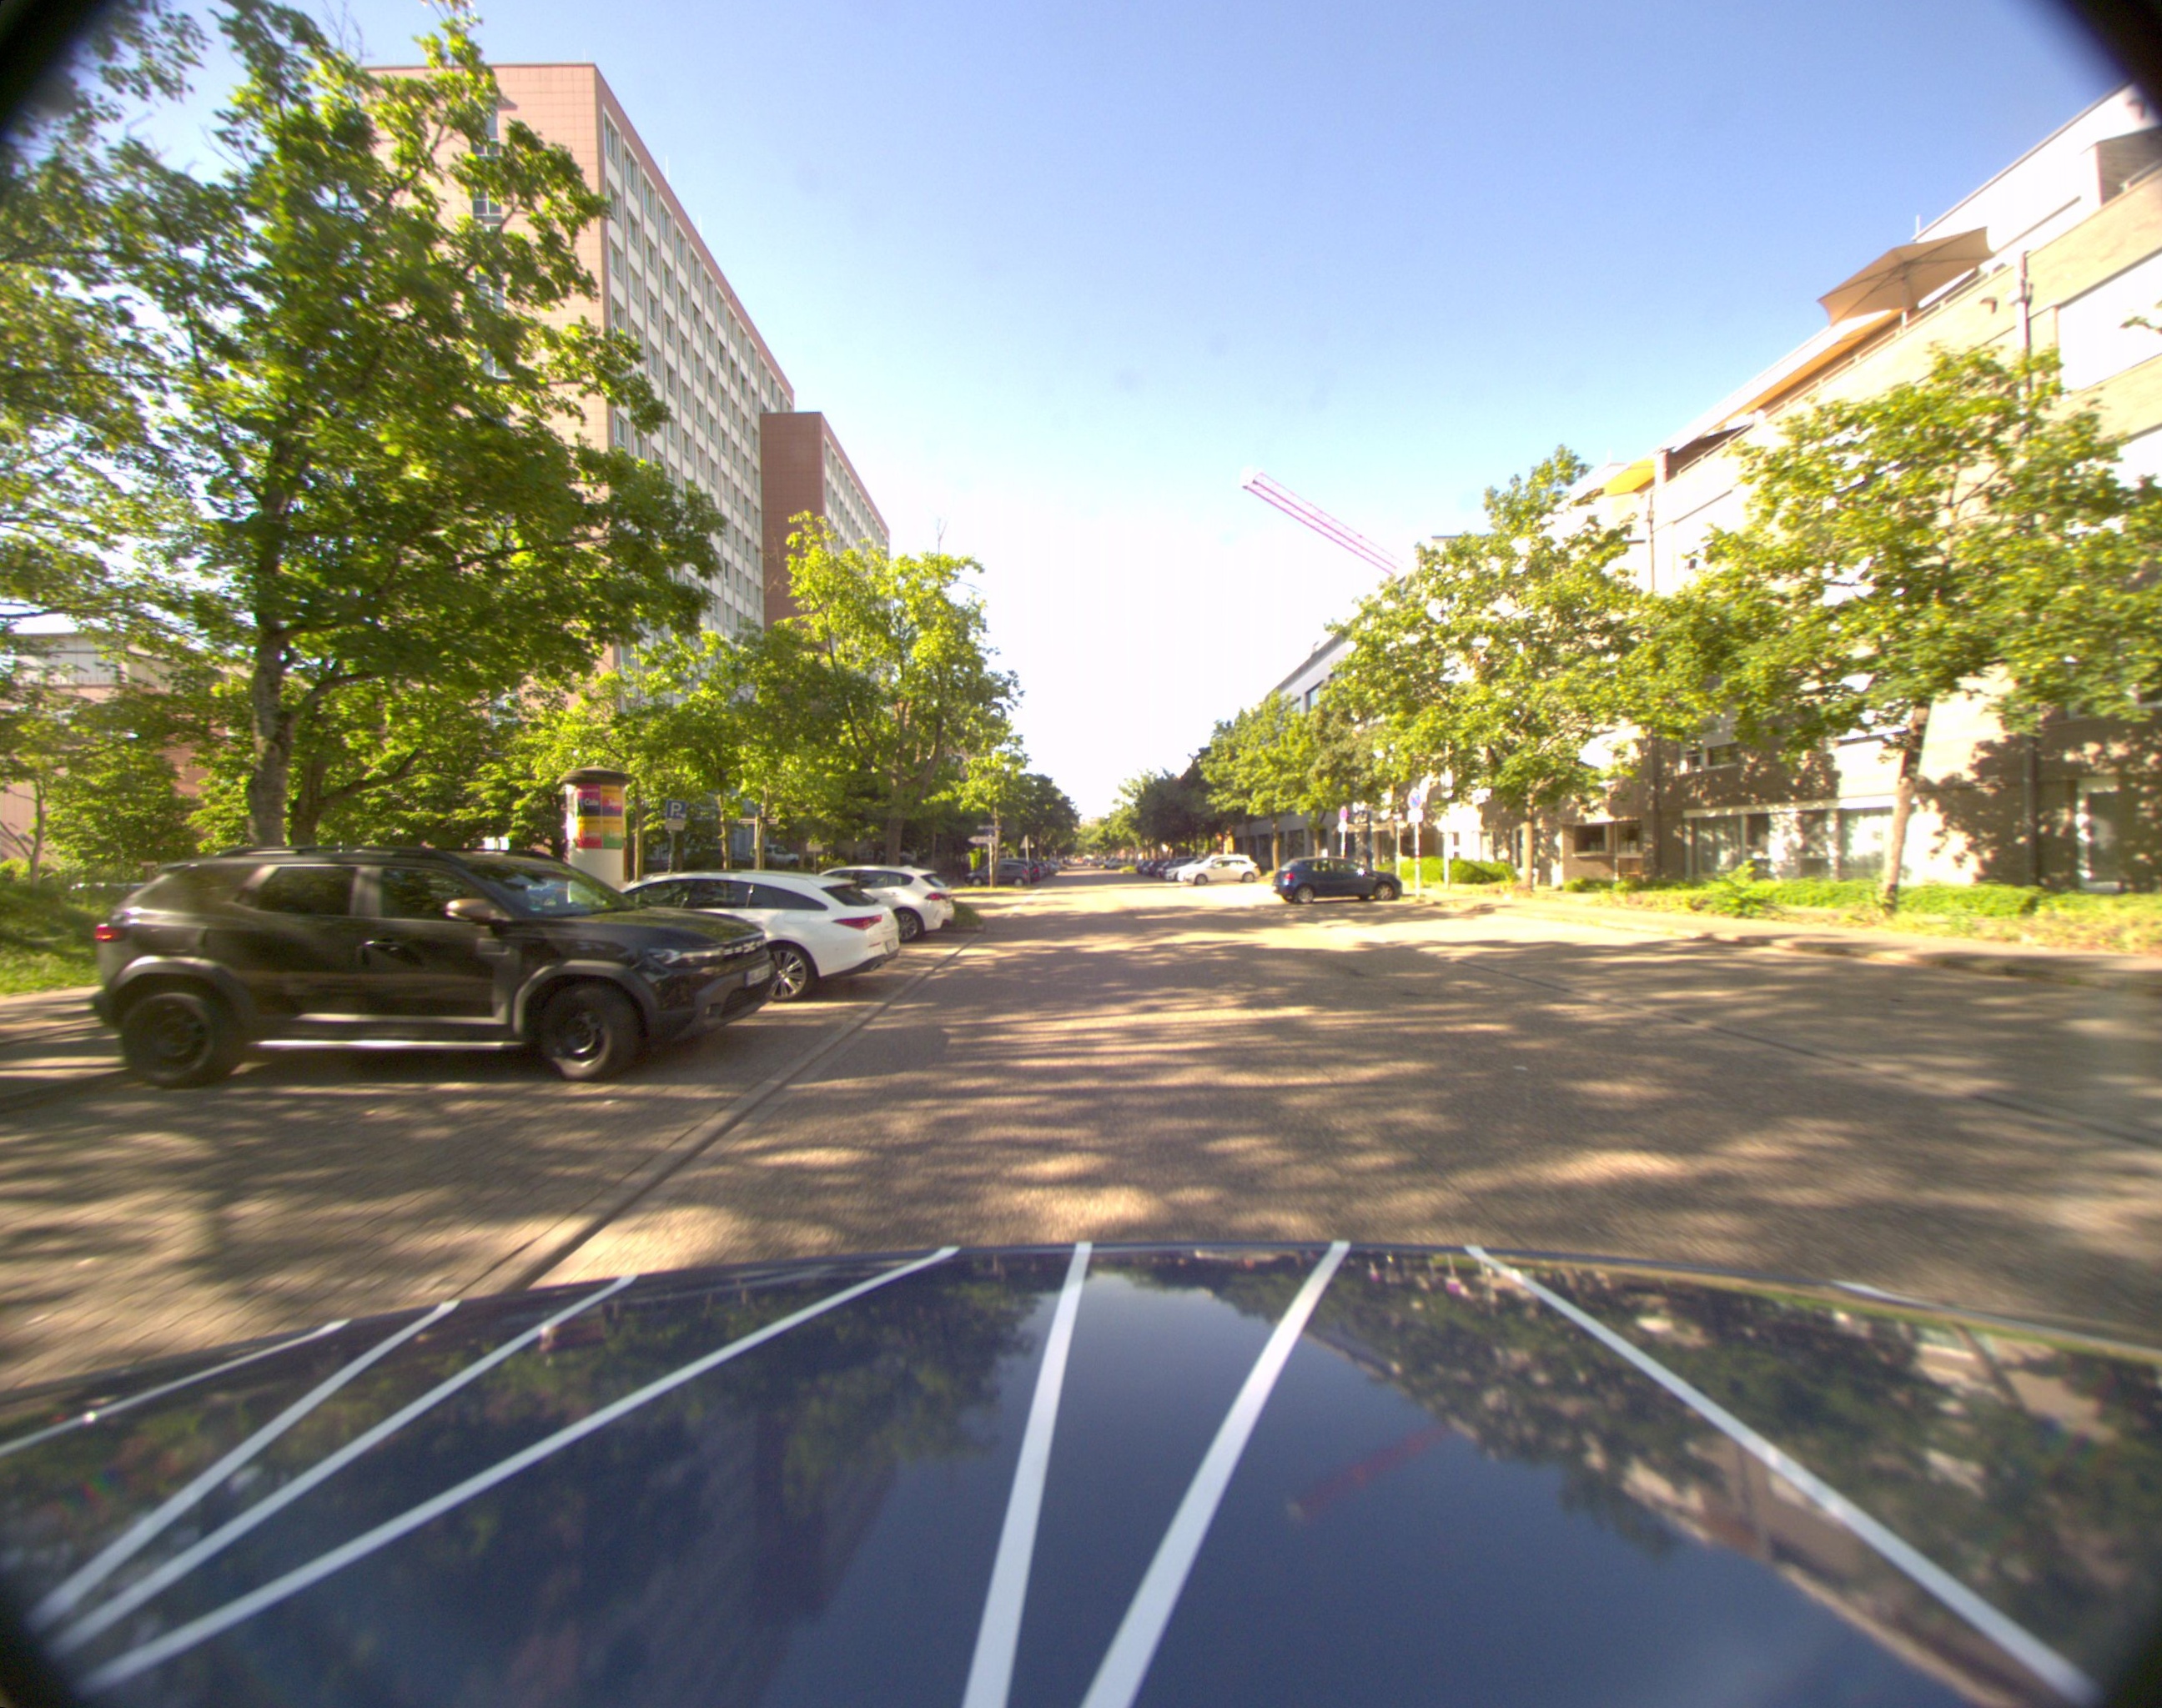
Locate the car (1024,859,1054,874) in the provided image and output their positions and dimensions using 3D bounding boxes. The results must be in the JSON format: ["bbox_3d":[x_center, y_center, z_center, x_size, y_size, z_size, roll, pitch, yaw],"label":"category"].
[{"bbox_3d":[-4.491,1.354,81.347,3.053,1.595,1.604,0,0,2],"label":"car"}]

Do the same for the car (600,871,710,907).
[{"bbox_3d":[-19.379,1.574,34.676,3.997,1.439,1.769,-2,1,1],"label":"car"}]

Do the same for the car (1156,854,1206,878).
[{"bbox_3d":[7.669,0.921,58.561,3.581,1.658,1.655,-2,0,2],"label":"car"}]

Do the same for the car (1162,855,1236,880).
[{"bbox_3d":[7.901,0.875,50.964,4.521,1.443,1.940,-3,0,-4],"label":"car"}]

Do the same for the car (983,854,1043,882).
[{"bbox_3d":[-4.390,0.889,49.251,3.681,1.741,1.724,0,0,2],"label":"car"}]

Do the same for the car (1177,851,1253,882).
[{"bbox_3d":[8.075,0.743,46.022,4.236,1.593,1.952,-3,1,0],"label":"car"}]

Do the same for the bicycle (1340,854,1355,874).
[{"bbox_3d":[16.665,0.620,47.447,0.338,1.168,1.627,-2,0,0],"label":"bicycle"}]

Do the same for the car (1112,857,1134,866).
[{"bbox_3d":[7.517,1.344,136.890,3.968,1.463,1.953,-2,0,1],"label":"car"}]

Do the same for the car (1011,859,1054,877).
[{"bbox_3d":[-4.162,1.223,65.201,3.582,1.498,1.724,0,0,-1],"label":"car"}]

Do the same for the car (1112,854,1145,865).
[{"bbox_3d":[7.817,0.958,124.785,5.252,1.615,1.953,-2,0,1],"label":"car"}]

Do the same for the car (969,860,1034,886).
[{"bbox_3d":[-4.827,1.176,46.745,3.845,1.438,1.592,2,-2,-3],"label":"car"}]

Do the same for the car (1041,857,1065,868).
[{"bbox_3d":[-4.779,1.420,129.723,3.998,1.773,1.952,-2,0,-4],"label":"car"}]

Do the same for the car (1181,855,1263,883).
[{"bbox_3d":[7.922,0.827,42.949,4.269,1.471,1.800,-1,0,-1],"label":"car"}]

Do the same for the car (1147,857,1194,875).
[{"bbox_3d":[7.714,1.039,65.656,3.832,1.405,1.687,-3,-1,-1],"label":"car"}]

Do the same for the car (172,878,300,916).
[{"bbox_3d":[-38.008,1.909,34.236,3.769,1.485,1.711,-2,0,0],"label":"car"}]

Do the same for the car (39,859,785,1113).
[{"bbox_3d":[-4.692,0.880,5.867,4.129,1.609,1.733,0,1,-2],"label":"car"}]

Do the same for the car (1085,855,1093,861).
[{"bbox_3d":[2.219,0.969,204.043,1.951,1.617,4.001,-1,0,3],"label":"car"}]

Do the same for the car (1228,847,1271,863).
[{"bbox_3d":[22.910,0.144,103.236,5.329,2.086,1.932,-2,0,-2],"label":"car"}]

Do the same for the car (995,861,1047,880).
[{"bbox_3d":[-4.559,1.248,58.084,3.719,1.472,1.724,0,0,2],"label":"car"}]

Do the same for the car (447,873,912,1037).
[{"bbox_3d":[-4.445,1.094,8.960,4.454,1.536,1.817,-2,0,-1],"label":"car"}]

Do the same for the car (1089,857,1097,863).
[{"bbox_3d":[2.913,1.327,179.236,1.766,1.365,4.001,-1,0,3],"label":"car"}]

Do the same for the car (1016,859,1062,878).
[{"bbox_3d":[-3.770,1.295,67.919,3.983,1.540,1.683,-1,0,-4],"label":"car"}]

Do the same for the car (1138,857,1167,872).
[{"bbox_3d":[7.572,1.116,80.351,2.933,1.435,1.389,-1,0,0],"label":"car"}]

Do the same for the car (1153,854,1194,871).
[{"bbox_3d":[8.684,0.778,71.341,3.539,1.437,1.657,-2,0,-3],"label":"car"}]

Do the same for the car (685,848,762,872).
[{"bbox_3d":[-23.747,0.407,50.554,4.237,1.498,1.723,-1,0,-6],"label":"car"}]

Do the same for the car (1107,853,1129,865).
[{"bbox_3d":[7.024,0.883,144.213,3.998,2.094,1.999,-2,0,-2],"label":"car"}]

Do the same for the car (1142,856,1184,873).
[{"bbox_3d":[7.425,0.927,68.616,3.539,1.428,1.657,-2,0,-1],"label":"car"}]

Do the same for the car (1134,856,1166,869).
[{"bbox_3d":[8.228,1.000,90.409,3.630,1.499,1.617,-2,0,-2],"label":"car"}]

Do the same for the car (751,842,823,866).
[{"bbox_3d":[-22.323,0.001,57.788,4.730,1.676,1.875,-1,0,-4],"label":"car"}]

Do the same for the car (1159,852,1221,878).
[{"bbox_3d":[7.714,0.787,54.002,4.122,1.611,1.803,-2,0,1],"label":"car"}]

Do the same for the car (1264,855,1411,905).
[{"bbox_3d":[8.052,0.793,24.079,3.998,1.403,1.816,-2,0,-4],"label":"car"}]

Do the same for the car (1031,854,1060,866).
[{"bbox_3d":[-5.179,0.892,111.372,4.165,1.696,1.999,-2,0,-2],"label":"car"}]

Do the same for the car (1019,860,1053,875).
[{"bbox_3d":[-4.443,1.328,75.581,3.203,1.471,1.589,0,0,3],"label":"car"}]

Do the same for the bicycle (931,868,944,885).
[{"bbox_3d":[-8.933,1.364,47.277,0.303,0.987,1.957,-2,0,4],"label":"bicycle"}]

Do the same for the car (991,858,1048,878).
[{"bbox_3d":[-4.929,1.107,61.330,4.432,1.544,1.859,-1,0,-1],"label":"car"}]

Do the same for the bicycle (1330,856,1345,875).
[{"bbox_3d":[15.886,0.689,47.084,0.338,1.168,1.627,-2,0,0],"label":"bicycle"}]

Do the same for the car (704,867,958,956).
[{"bbox_3d":[-4.797,1.094,15.095,4.439,1.583,1.836,1,0,-3],"label":"car"}]

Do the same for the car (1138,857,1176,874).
[{"bbox_3d":[7.589,1.124,75.928,3.539,1.497,1.646,-2,0,-1],"label":"car"}]
